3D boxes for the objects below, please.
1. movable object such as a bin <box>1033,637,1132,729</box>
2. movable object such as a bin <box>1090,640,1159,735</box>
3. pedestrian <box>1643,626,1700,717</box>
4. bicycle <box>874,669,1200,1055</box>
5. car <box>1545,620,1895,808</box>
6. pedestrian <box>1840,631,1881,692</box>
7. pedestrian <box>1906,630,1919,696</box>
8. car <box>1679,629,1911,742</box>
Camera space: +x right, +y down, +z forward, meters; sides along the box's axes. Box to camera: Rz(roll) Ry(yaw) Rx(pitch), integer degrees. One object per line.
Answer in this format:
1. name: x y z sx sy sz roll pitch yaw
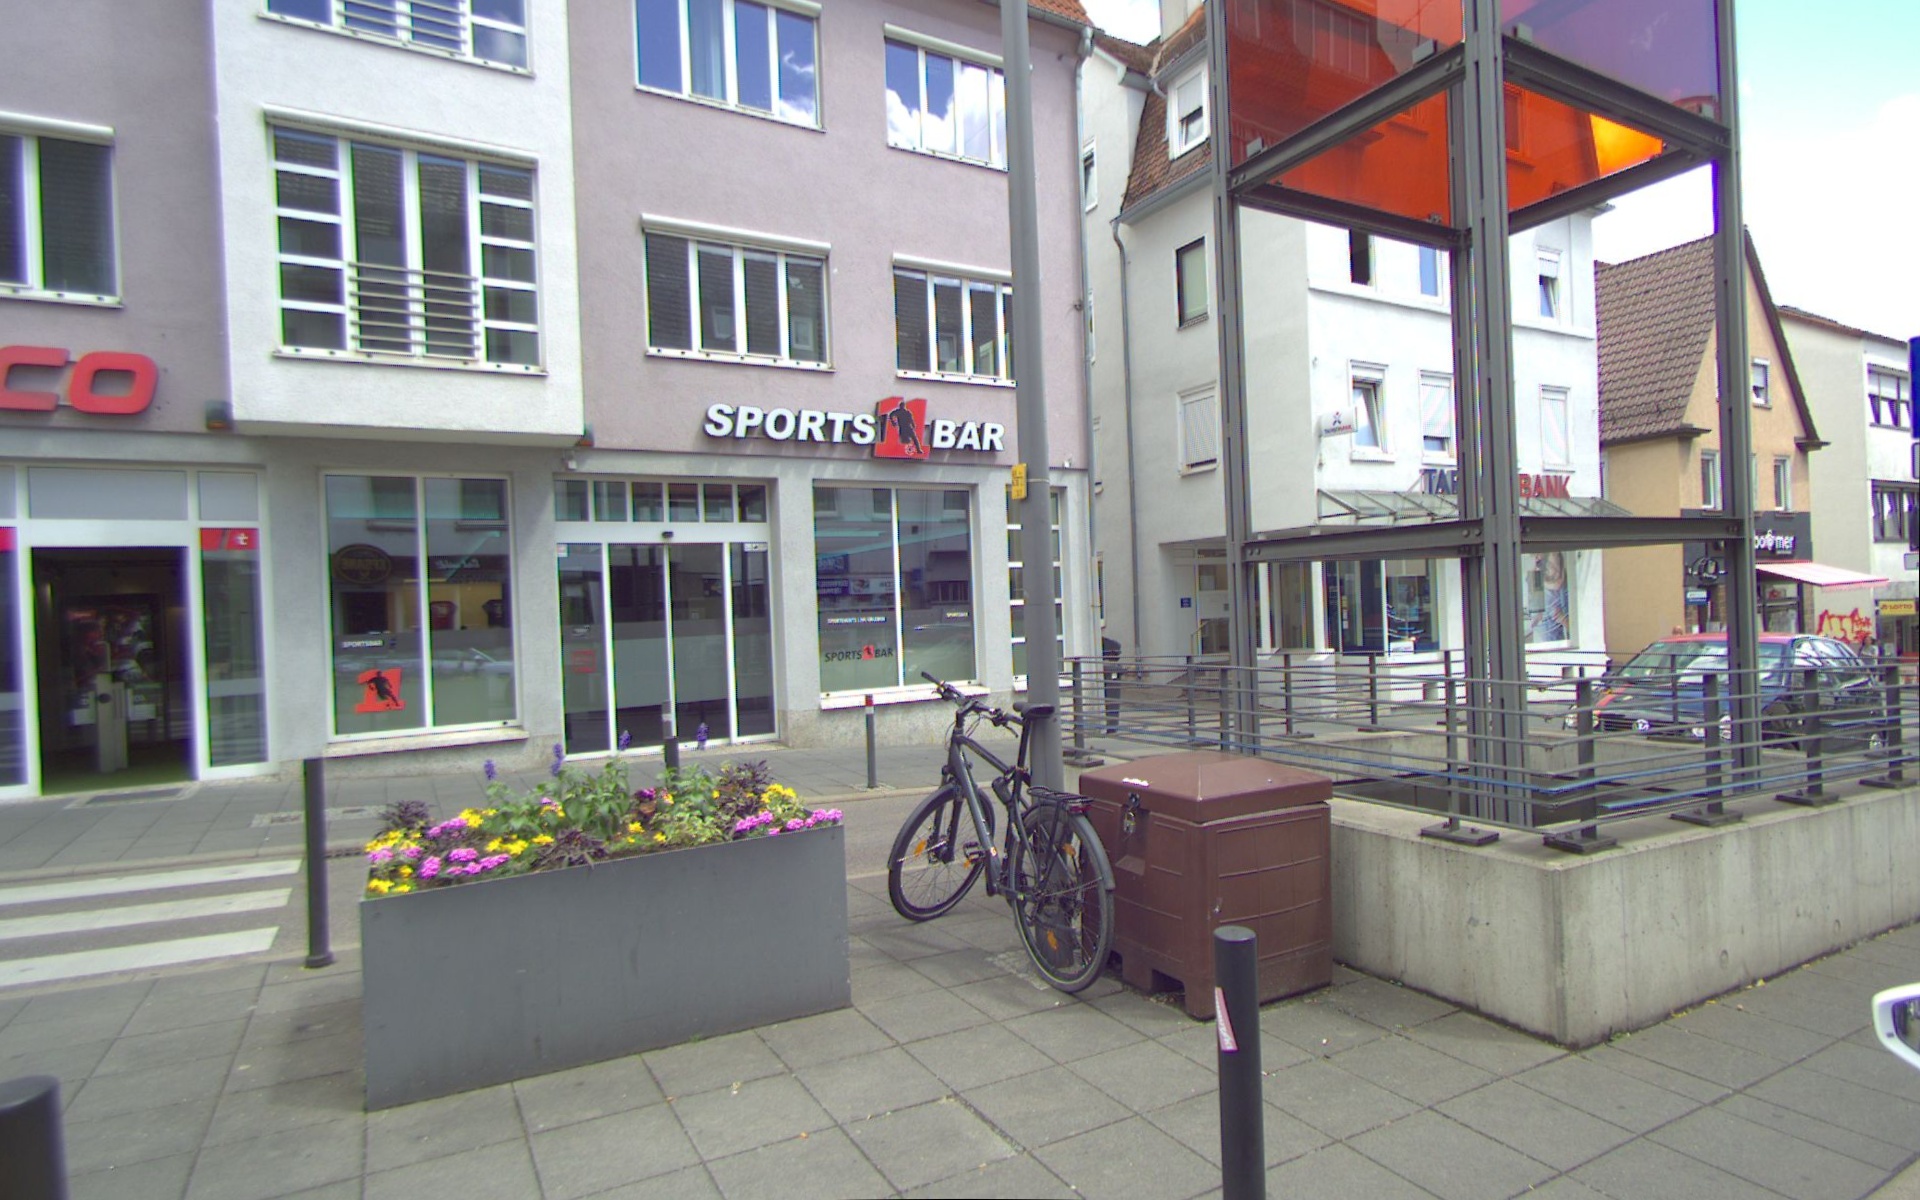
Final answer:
1. movable object such as a bin: 1.981 1.307 16.329 1.055 1.394 1.277 1 -1 -30
2. movable object such as a bin: 2.530 1.325 15.444 0.798 1.394 0.686 1 -1 -31
3. pedestrian: 13.861 1.372 19.569 0.818 1.711 0.636 1 -1 -32
4. bicycle: 0.227 0.945 4.283 0.454 1.239 1.769 1 -2 -31
5. car: 7.426 0.964 9.716 3.816 1.495 1.559 2 -1 -34
6. pedestrian: 23.953 1.631 26.724 0.708 1.594 0.562 1 -3 -31
7. pedestrian: 25.258 1.646 26.169 0.653 1.711 0.646 1 -1 9
8. car: 13.707 1.317 16.442 4.075 1.592 1.671 2 0 -31
